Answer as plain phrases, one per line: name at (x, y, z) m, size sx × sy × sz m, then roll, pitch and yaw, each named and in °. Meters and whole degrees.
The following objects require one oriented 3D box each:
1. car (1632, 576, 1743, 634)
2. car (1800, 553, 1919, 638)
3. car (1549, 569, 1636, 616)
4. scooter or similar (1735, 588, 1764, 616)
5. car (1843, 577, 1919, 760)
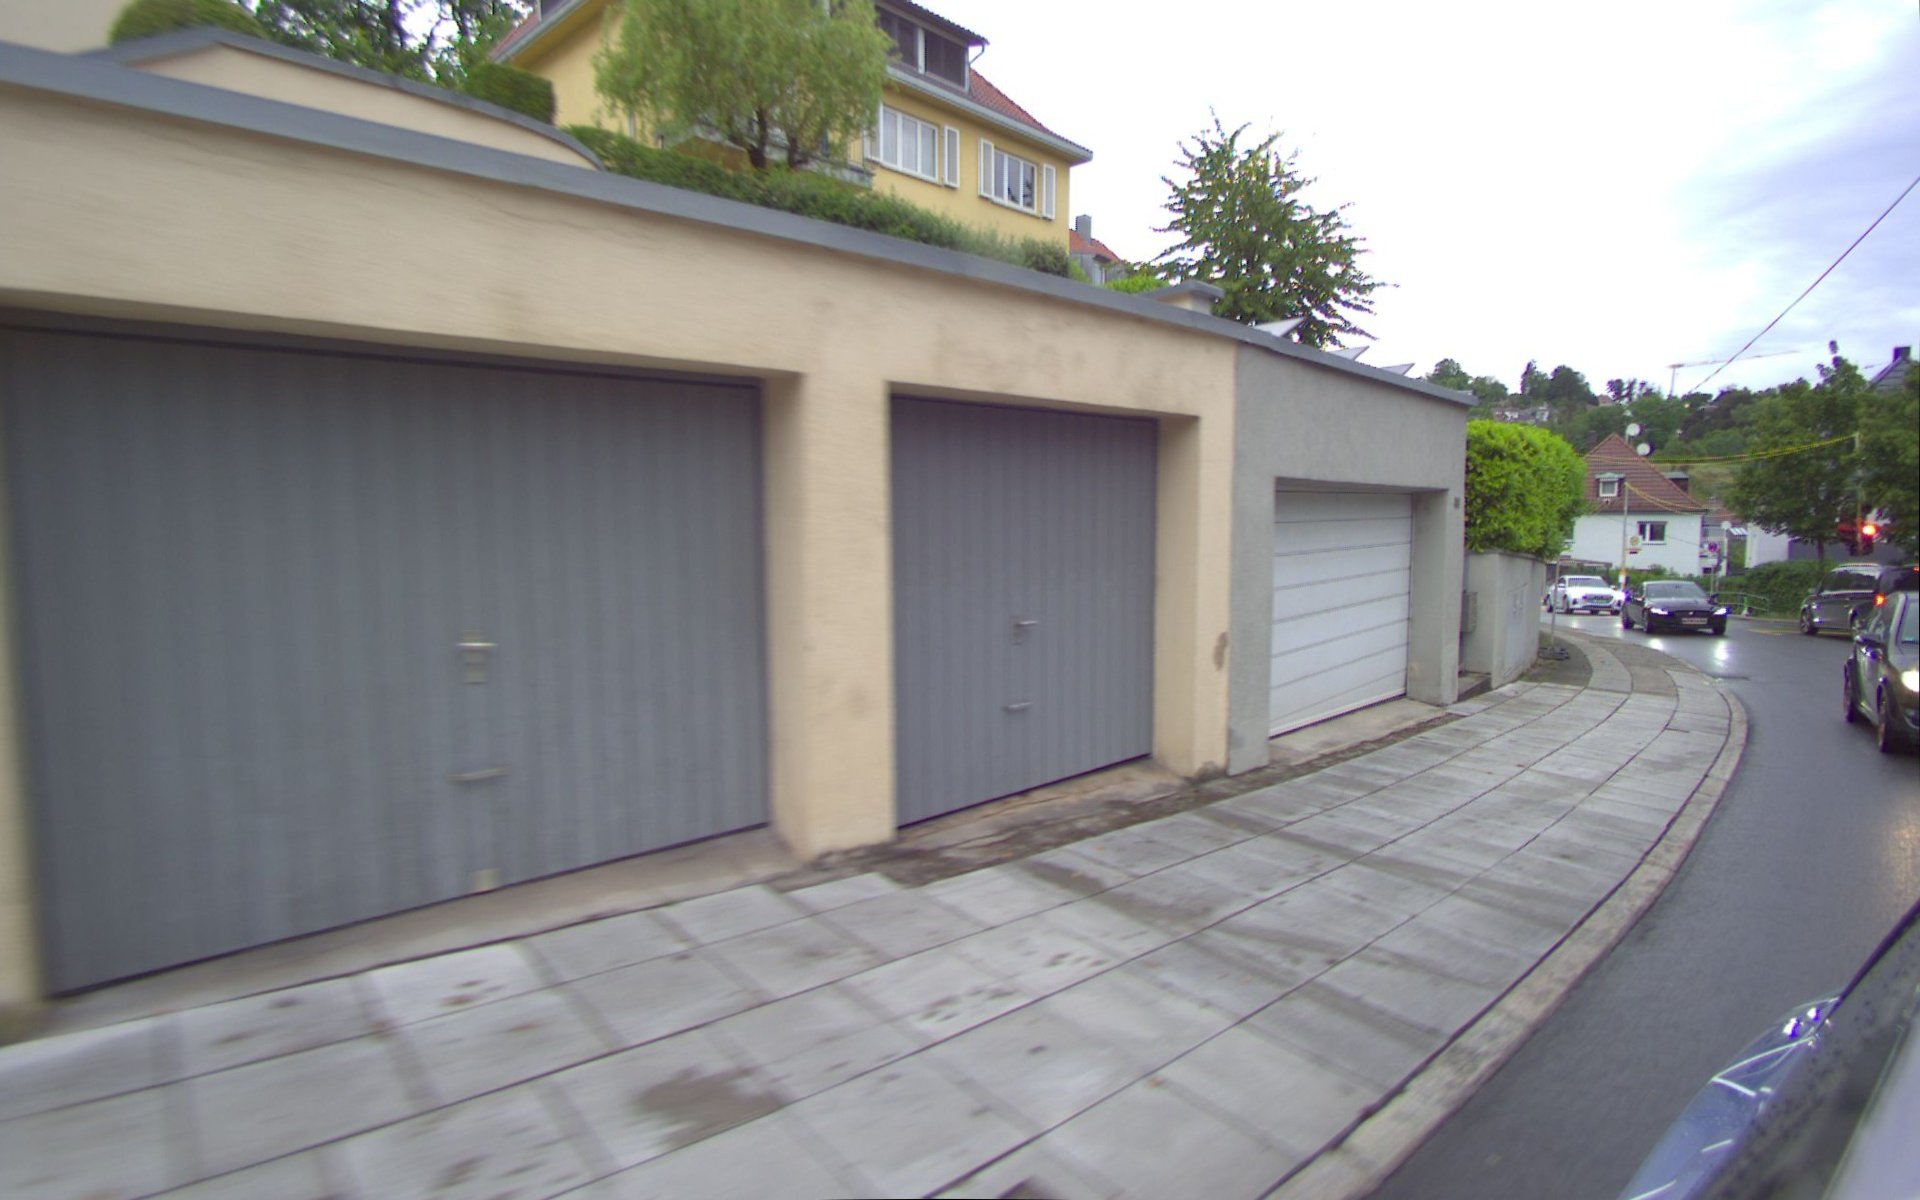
car at (20.566, 0.074, 28.784) m, size 1.826 × 1.420 × 4.036 m, roll 3°, pitch 3°, yaw 26°
car at (23.013, -0.149, 25.056) m, size 1.882 × 1.912 × 5.114 m, roll 3°, pitch 3°, yaw 23°
car at (26.328, -0.390, 42.297) m, size 1.976 × 1.729 × 4.548 m, roll 3°, pitch 3°, yaw 18°
scooter or similar at (32.101, 0.061, 41.175) m, size 0.319 × 1.094 × 1.094 m, roll 3°, pitch 1°, yaw 4°
car at (9.922, 0.565, 9.731) m, size 1.666 × 1.484 × 4.655 m, roll 4°, pitch 3°, yaw 36°
